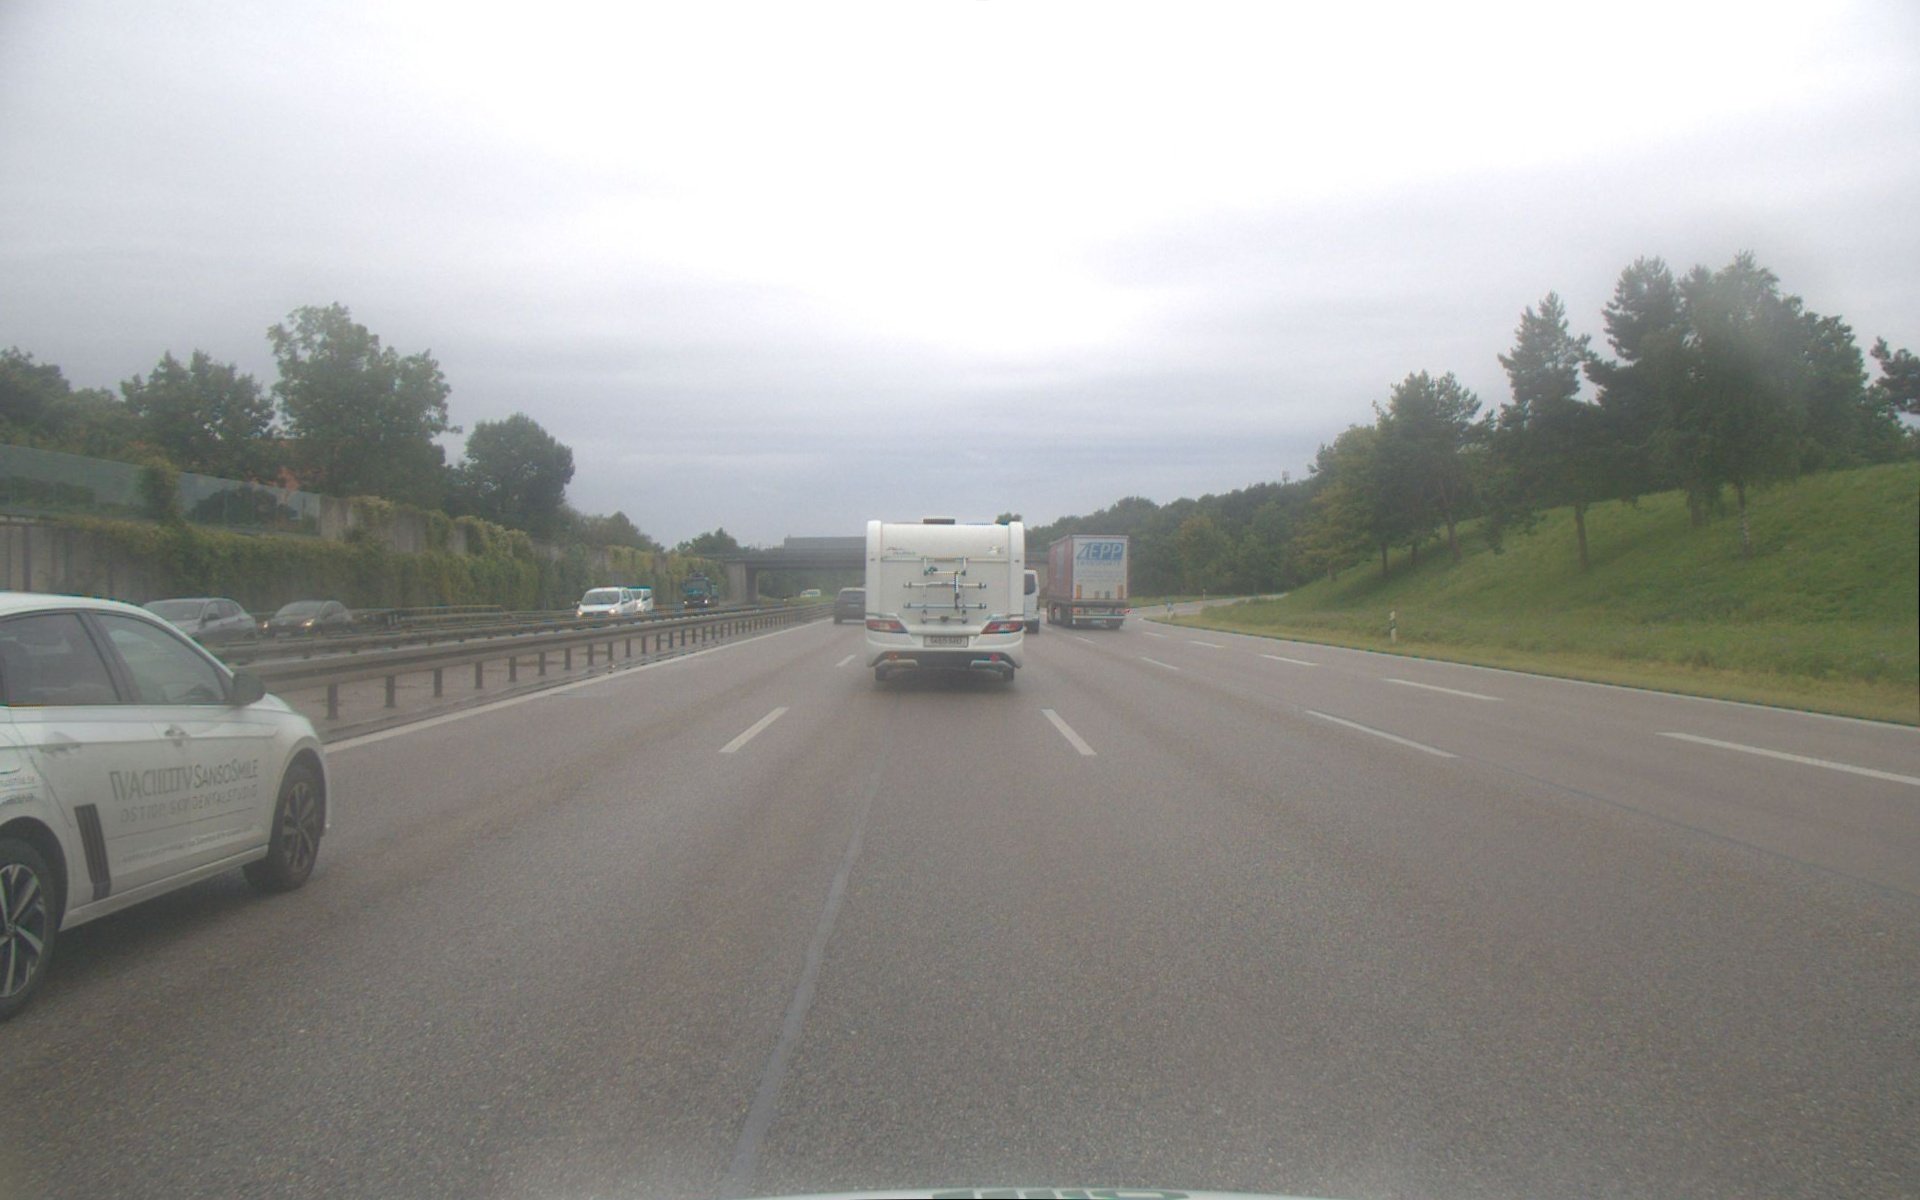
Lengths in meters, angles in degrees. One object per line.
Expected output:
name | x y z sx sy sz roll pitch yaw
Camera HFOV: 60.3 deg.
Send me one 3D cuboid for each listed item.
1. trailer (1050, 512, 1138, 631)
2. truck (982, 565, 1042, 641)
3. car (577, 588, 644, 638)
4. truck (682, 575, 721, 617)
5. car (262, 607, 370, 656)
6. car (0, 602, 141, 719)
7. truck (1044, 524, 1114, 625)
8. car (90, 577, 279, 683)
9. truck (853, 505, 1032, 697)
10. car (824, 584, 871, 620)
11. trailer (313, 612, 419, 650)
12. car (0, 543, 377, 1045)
trailer | 6.002 -1.181 76.150 3.036 5.008 11.789 1 0 0
truck | 2.007 0.127 65.206 2.012 2.818 5.547 1 0 -1
car | -13.344 0.485 63.342 1.751 1.782 4.534 1 0 -2
truck | -24.650 -0.331 158.079 2.637 3.843 8.333 1 0 -2
car | -22.283 1.064 57.430 1.915 1.579 4.521 1 0 0
car | -12.661 0.808 21.603 1.569 1.431 4.763 -4 0 -1
truck | 5.975 -1.242 83.861 2.986 4.924 5.849 1 0 -1
car | -16.180 0.595 34.796 1.894 2.049 4.730 -1 0 -2
truck | -0.312 0.023 27.068 2.607 2.790 5.076 1 0 -1
car | -5.264 0.093 77.989 1.953 1.628 5.122 1 0 -1
trailer | -22.187 1.124 62.010 2.086 1.289 5.246 1 0 -1
car | -4.034 0.635 6.758 1.717 1.646 4.663 0 0 -1
